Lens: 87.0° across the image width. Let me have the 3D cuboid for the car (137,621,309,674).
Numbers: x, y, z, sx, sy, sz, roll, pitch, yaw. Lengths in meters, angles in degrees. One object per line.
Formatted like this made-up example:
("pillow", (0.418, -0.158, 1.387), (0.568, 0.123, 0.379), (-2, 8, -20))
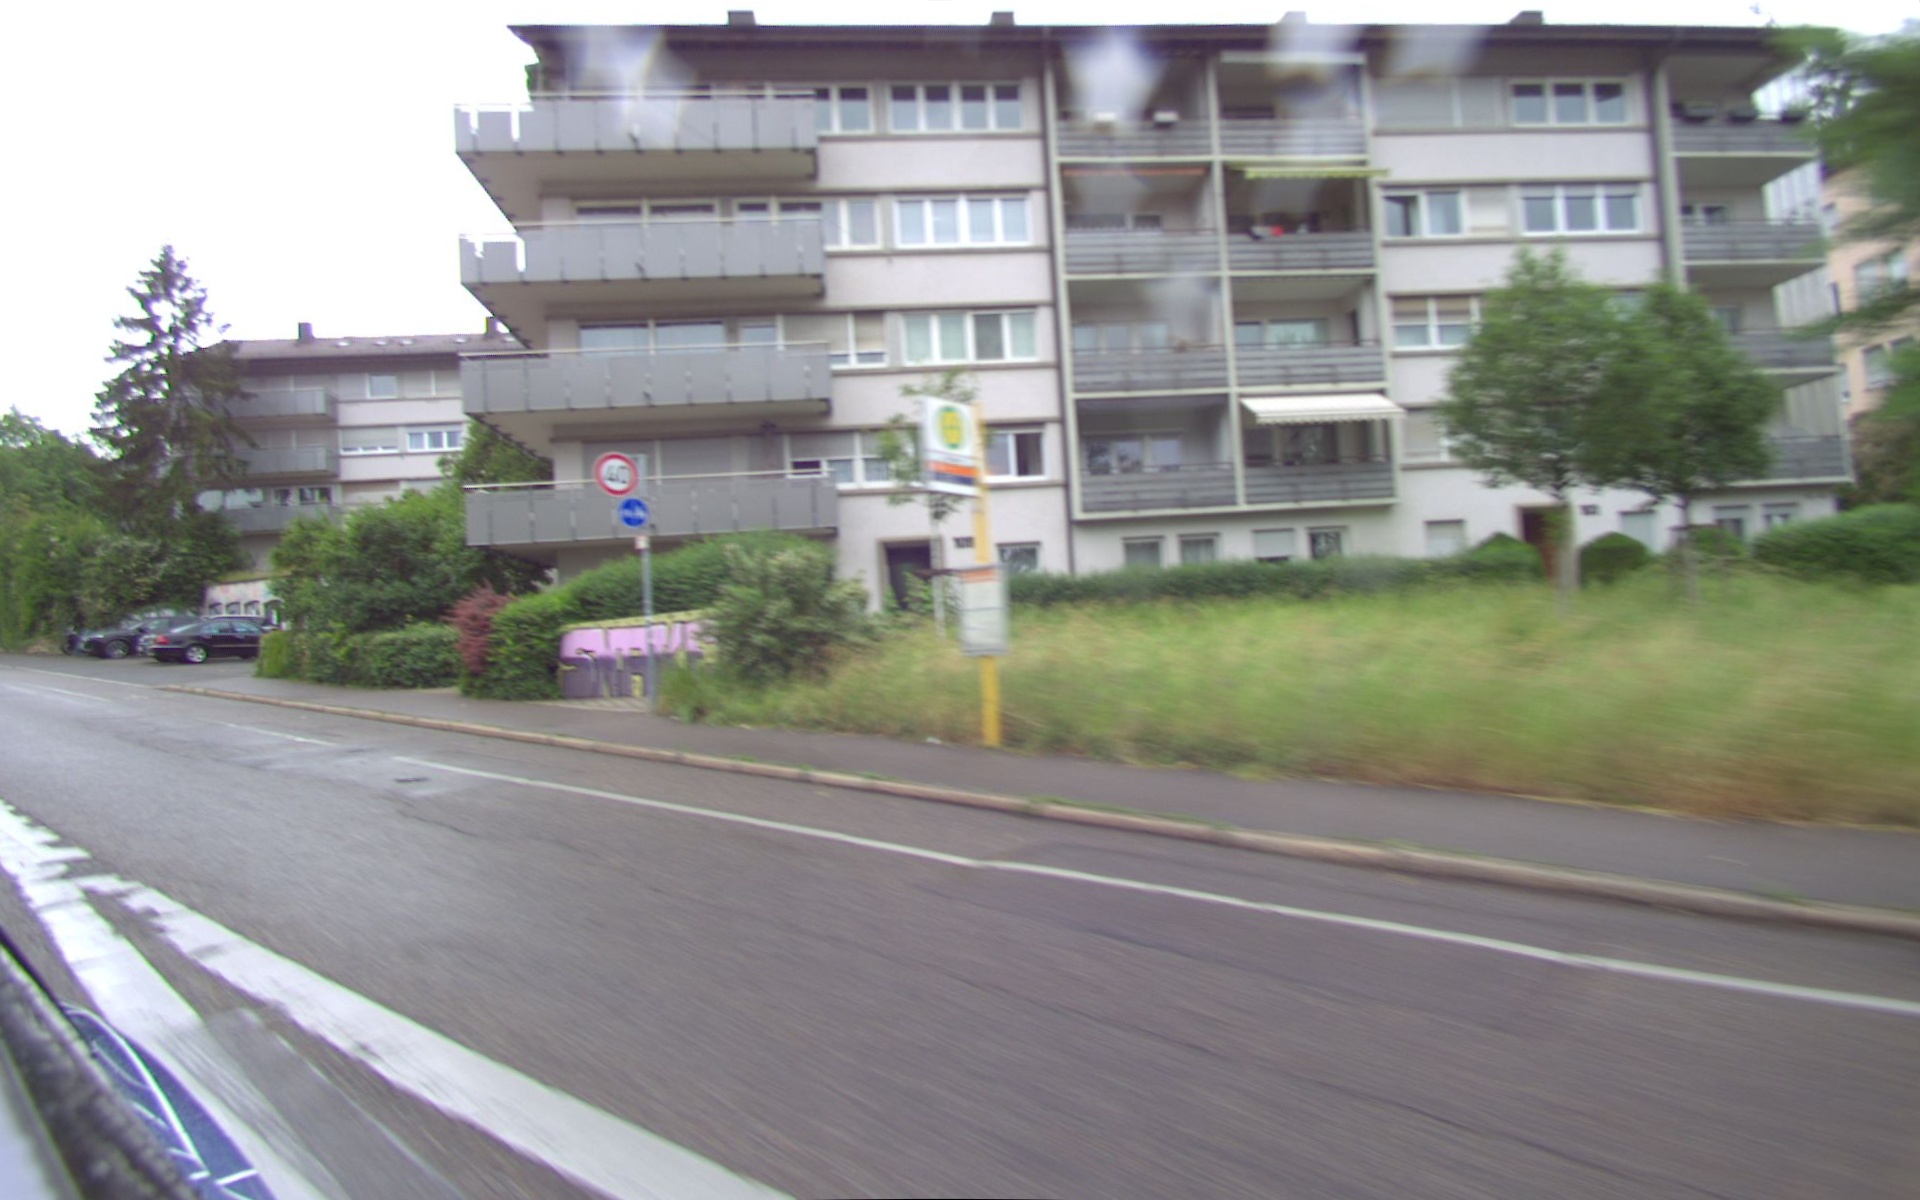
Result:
("car", (-25.091, 1.556, 34.592), (1.847, 1.501, 4.439), (-1, 1, 40))

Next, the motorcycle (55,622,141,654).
("motorcycle", (-37.763, 1.650, 44.411), (2.765, 1.282, 1.282), (-1, 0, -35))

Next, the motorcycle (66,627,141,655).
("motorcycle", (-36.500, 1.730, 43.168), (2.426, 1.117, 0.661), (0, -1, -44))

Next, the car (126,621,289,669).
("car", (-26.824, 1.565, 36.218), (1.772, 1.539, 4.387), (-1, -1, 37))

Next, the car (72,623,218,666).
("car", (-32.868, 1.759, 40.907), (1.773, 1.539, 4.384), (-1, -1, 40))
